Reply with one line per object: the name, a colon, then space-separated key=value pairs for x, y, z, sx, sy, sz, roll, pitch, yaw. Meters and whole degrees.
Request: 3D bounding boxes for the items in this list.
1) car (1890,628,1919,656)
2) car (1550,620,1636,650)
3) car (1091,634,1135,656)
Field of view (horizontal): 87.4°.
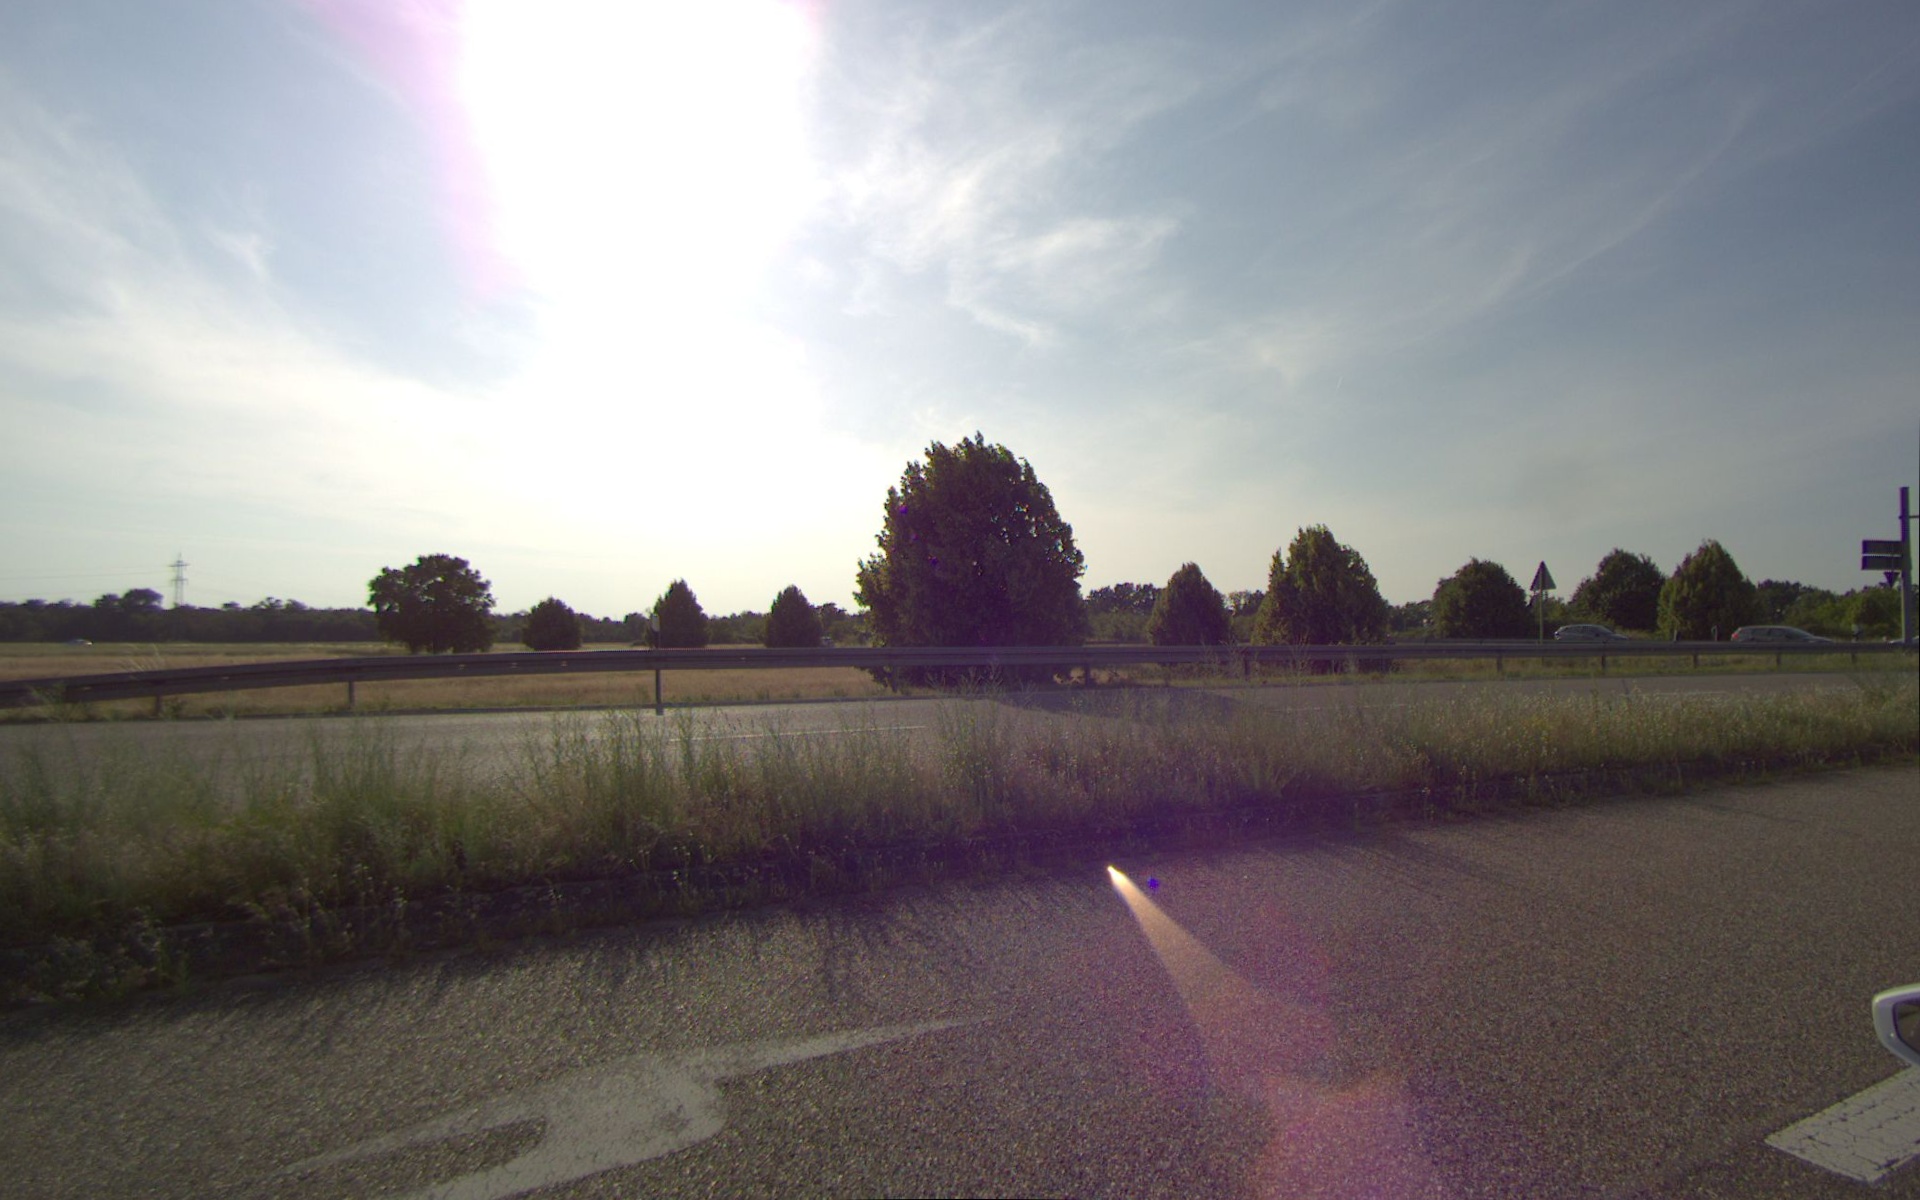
car: x=53.509 y=2.336 z=55.242 sx=3.139 sy=1.512 sz=1.774 roll=0 pitch=0 yaw=33
car: x=38.404 y=2.111 z=61.046 sx=1.764 sy=1.626 sz=4.174 roll=2 pitch=-1 yaw=-22
car: x=15.737 y=4.635 z=103.201 sx=3.934 sy=2.040 sz=1.993 roll=2 pitch=-1 yaw=36
